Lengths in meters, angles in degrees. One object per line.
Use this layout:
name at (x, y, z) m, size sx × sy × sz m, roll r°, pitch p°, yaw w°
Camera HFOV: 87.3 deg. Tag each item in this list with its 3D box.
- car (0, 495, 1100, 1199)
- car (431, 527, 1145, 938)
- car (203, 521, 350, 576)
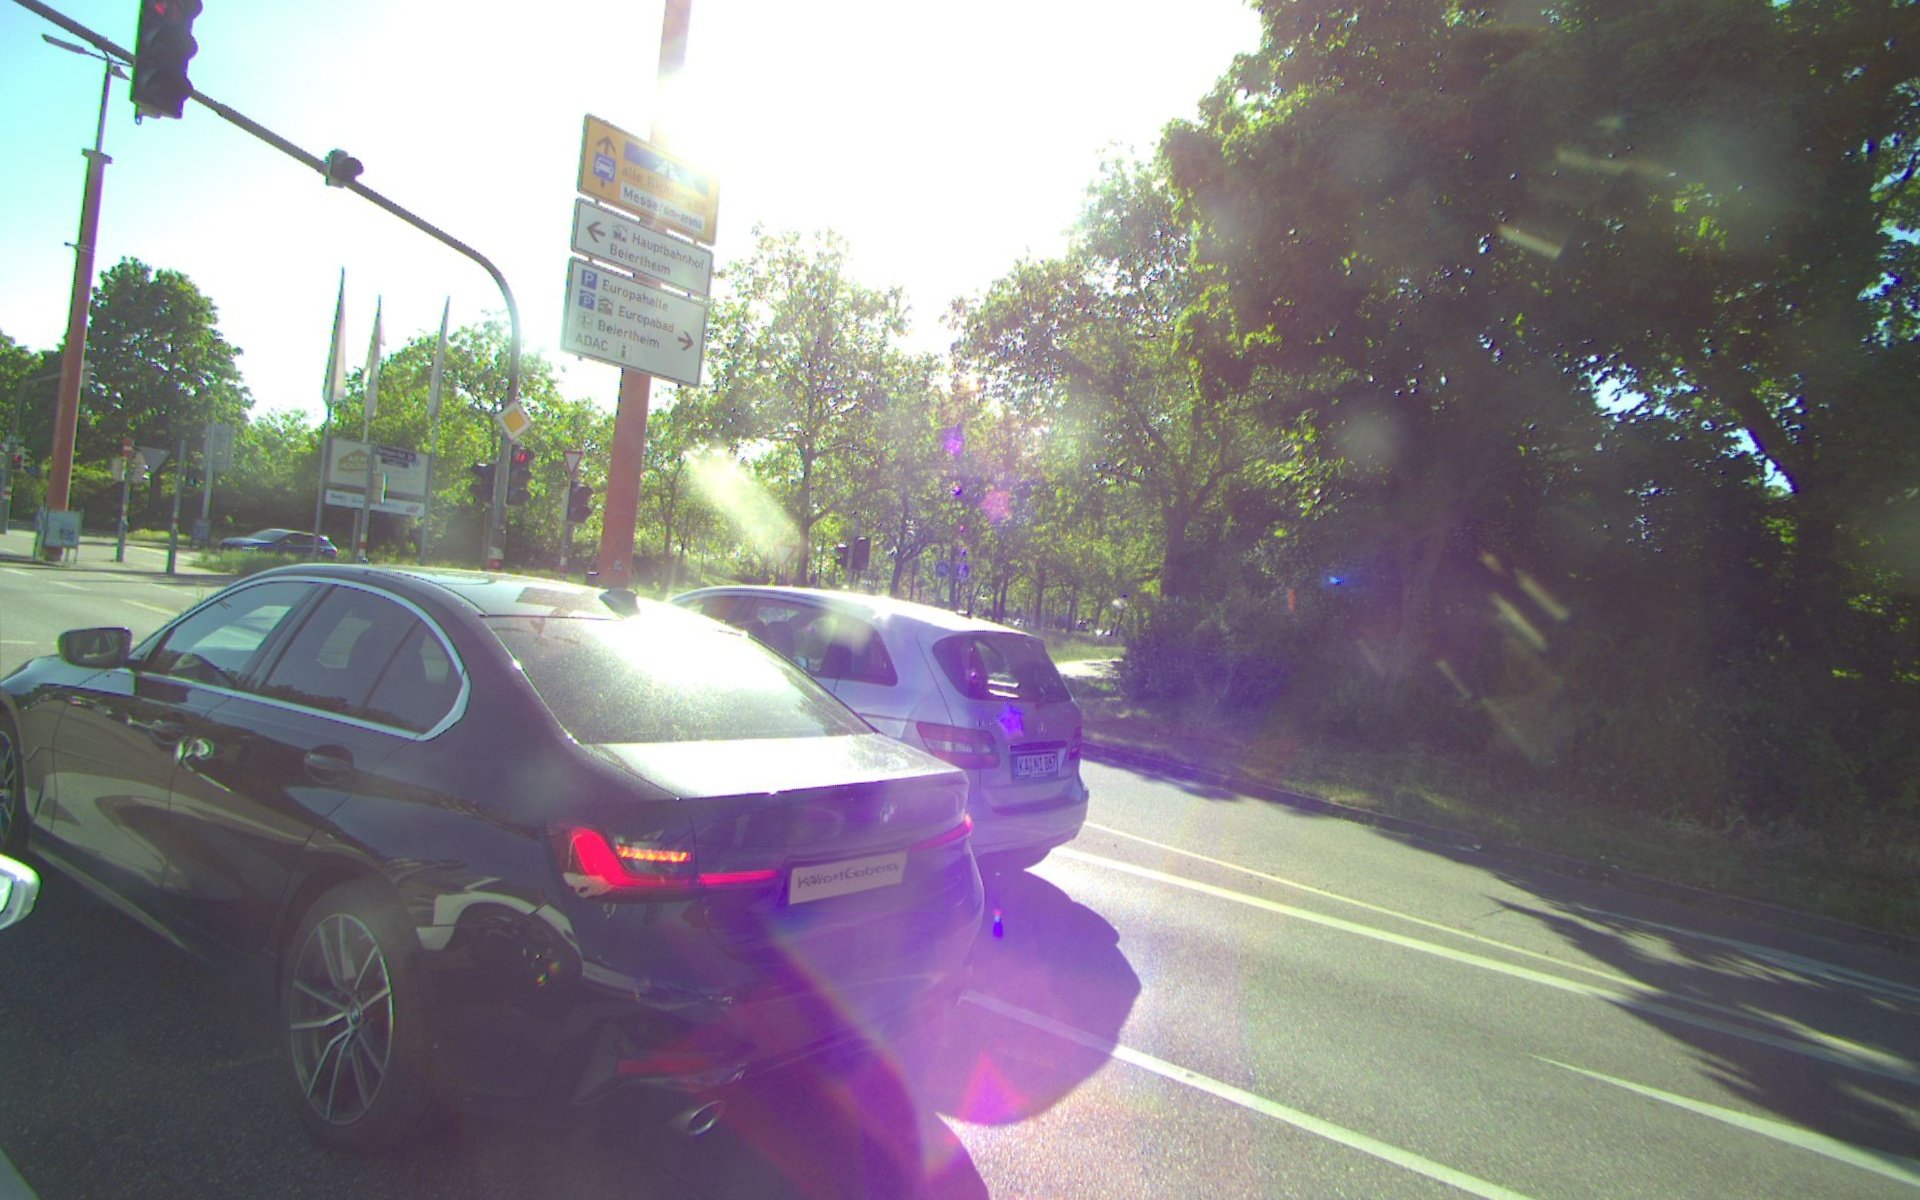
car at (-1.953, 0.527, 3.881) m, size 4.403 × 1.411 × 1.996 m, roll 7°, pitch 0°, yaw 32°
car at (-1.275, 0.638, 6.789) m, size 4.403 × 1.706 × 1.970 m, roll 7°, pitch -1°, yaw 32°
car at (-25.239, -1.846, 37.342) m, size 1.848 × 1.445 × 4.283 m, roll 7°, pitch -1°, yaw 14°
